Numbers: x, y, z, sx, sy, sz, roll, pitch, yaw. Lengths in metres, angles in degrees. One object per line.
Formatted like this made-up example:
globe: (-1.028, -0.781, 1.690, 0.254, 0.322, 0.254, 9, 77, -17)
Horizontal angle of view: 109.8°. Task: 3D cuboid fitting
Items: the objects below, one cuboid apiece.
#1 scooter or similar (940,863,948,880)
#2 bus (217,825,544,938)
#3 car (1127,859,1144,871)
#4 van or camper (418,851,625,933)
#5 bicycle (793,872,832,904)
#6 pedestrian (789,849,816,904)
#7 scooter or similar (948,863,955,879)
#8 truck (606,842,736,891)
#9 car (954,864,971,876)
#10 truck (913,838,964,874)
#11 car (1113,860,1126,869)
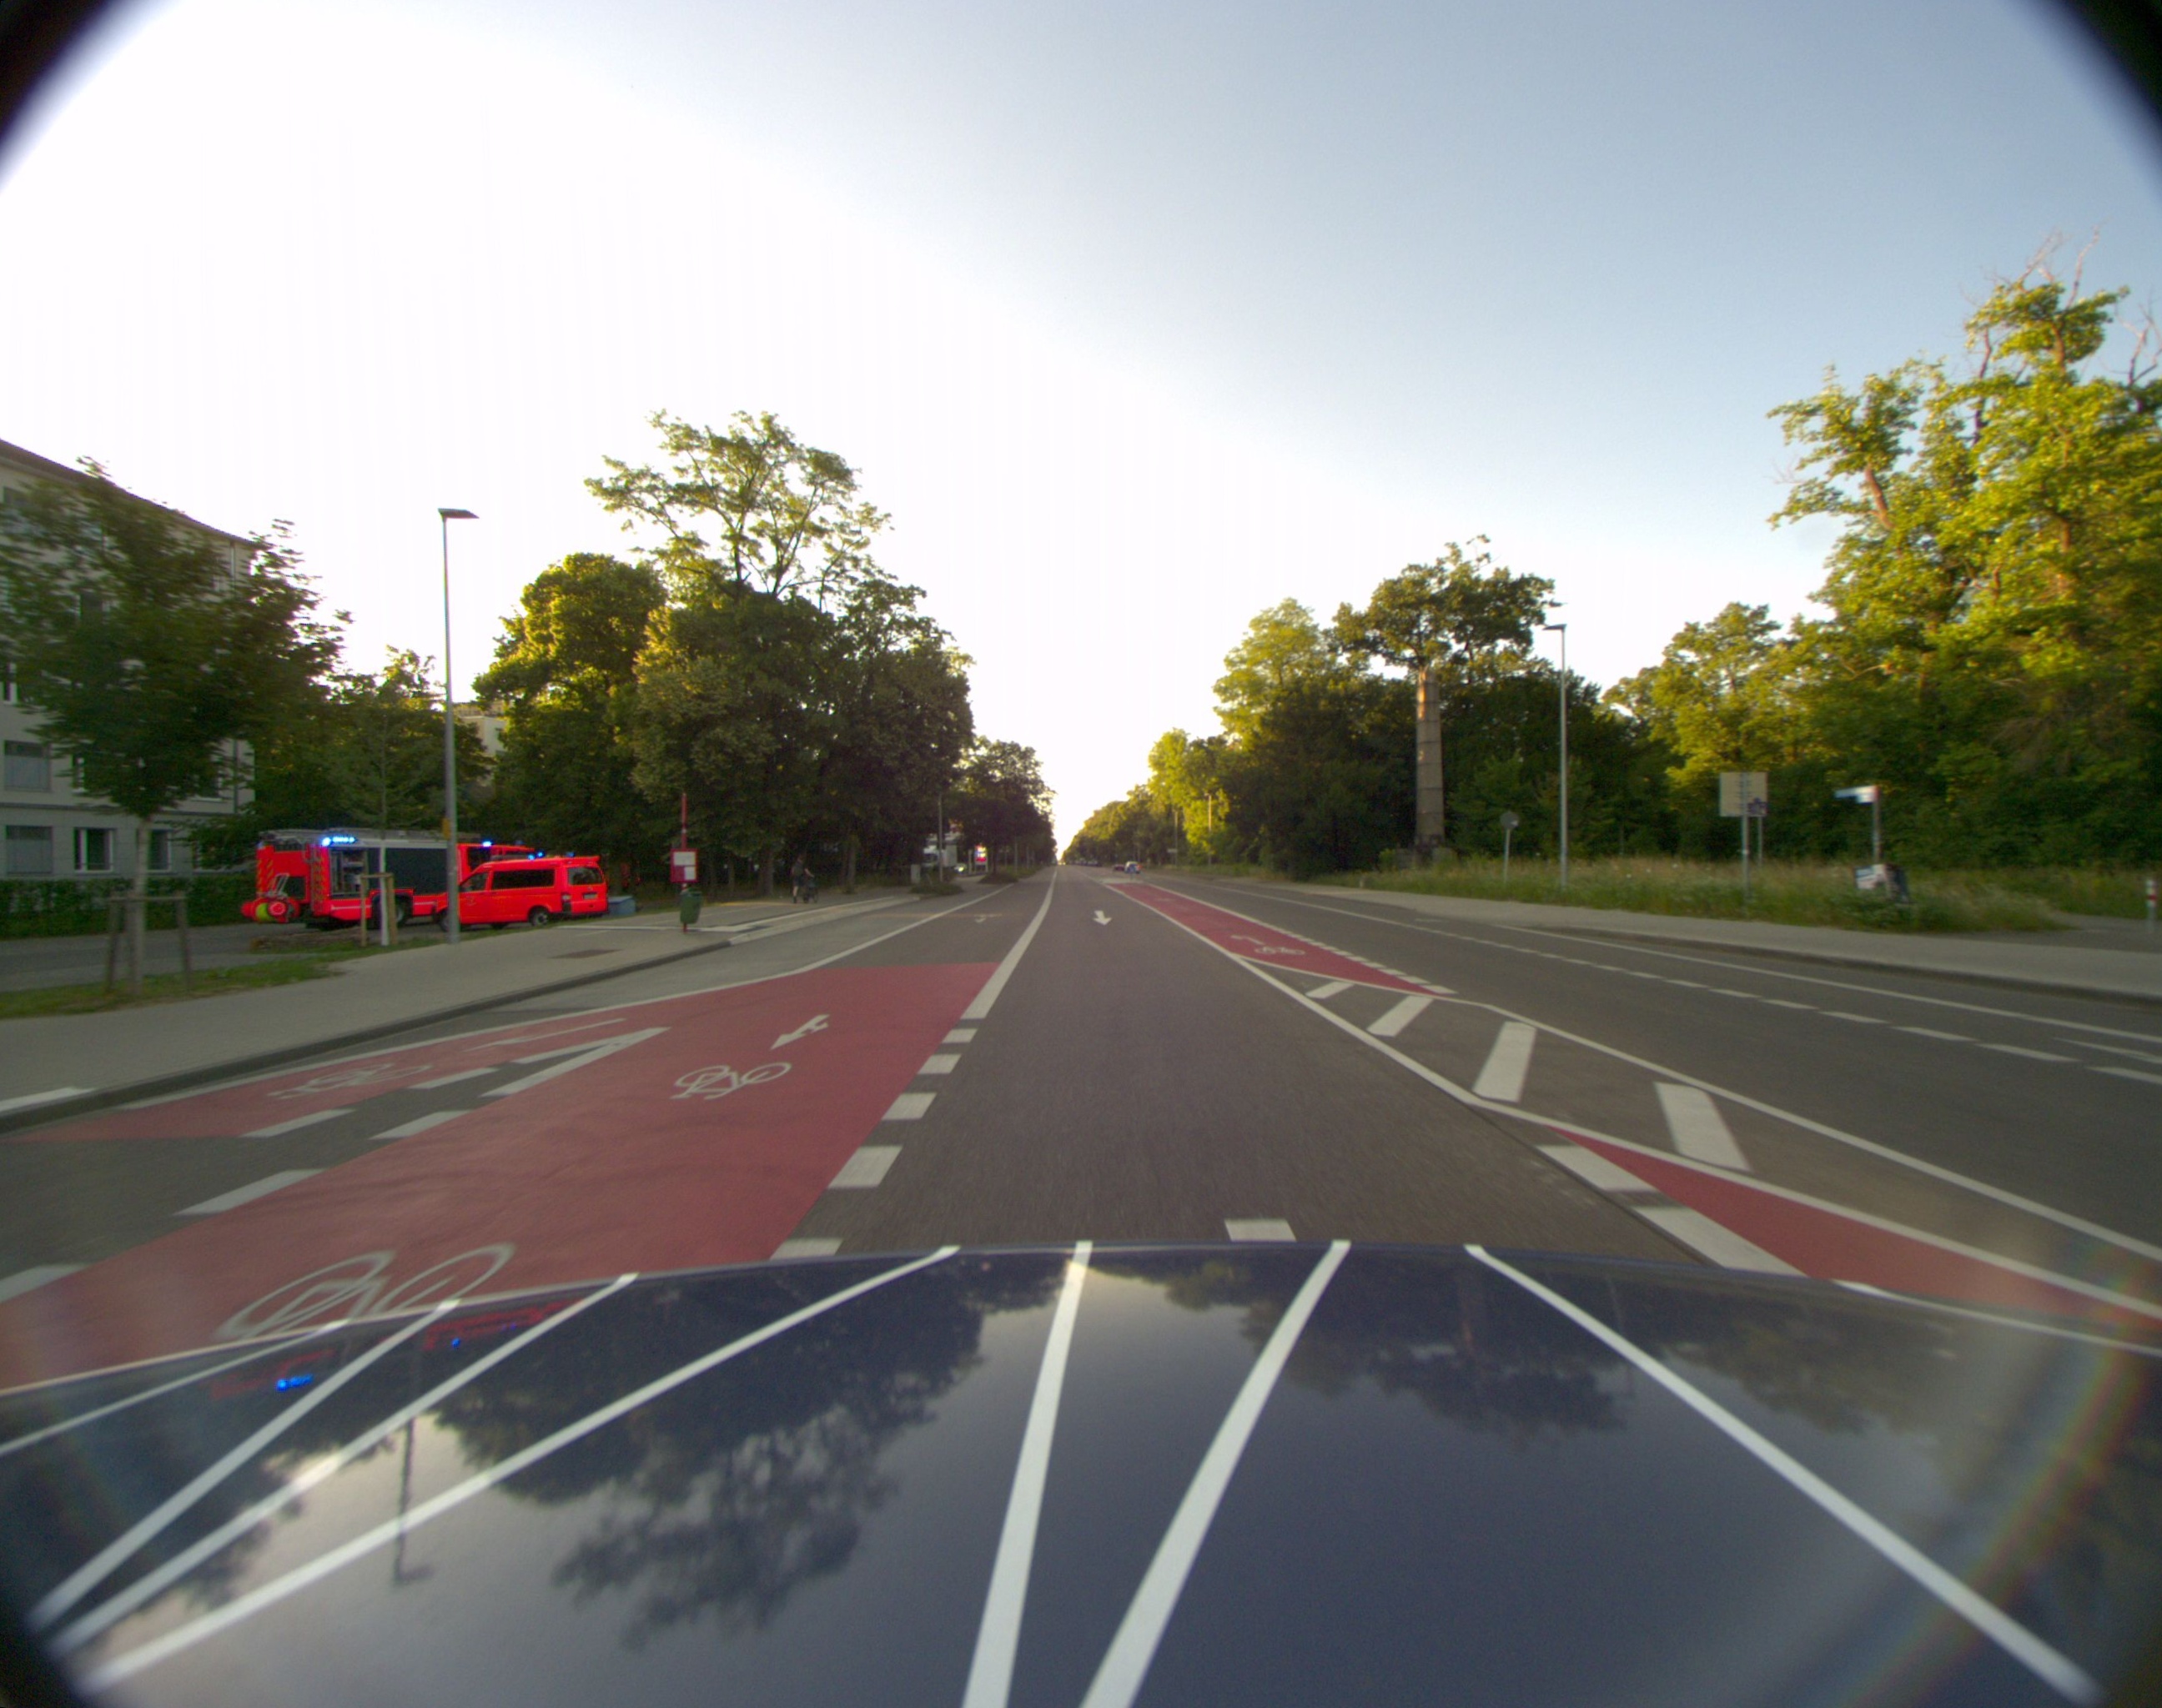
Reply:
scooter or similar: (-10.821, 1.369, 59.996, 0.483, 1.274, 1.231, 0, 0, -6)
bus: (-23.221, 0.792, 26.045, 2.993, 3.177, 7.970, -2, 0, 9)
car: (6.959, 1.416, 97.392, 1.851, 1.406, 4.180, -3, 0, -1)
van or camper: (-17.143, 1.129, 23.447, 4.822, 2.231, 2.296, -2, 0, 8)
bicycle: (-9.986, 1.239, 28.342, 0.832, 1.091, 1.968, -1, 0, -4)
pedestrian: (-10.235, 0.824, 27.969, 0.725, 2.002, 0.695, 0, 0, -1)
scooter or similar: (-10.478, 1.374, 61.510, 0.483, 1.274, 1.139, 0, 0, -6)
truck: (-28.577, 0.897, 52.966, 8.645, 3.192, 2.765, -1, 0, 19)
car: (-17.166, 2.257, 110.380, 1.999, 1.581, 4.709, -2, 0, -3)
truck: (-16.454, 0.221, 89.330, 3.227, 3.707, 15.883, -2, 0, -1)
car: (5.874, 1.617, 115.833, 1.754, 1.299, 4.000, 0, 0, -1)
